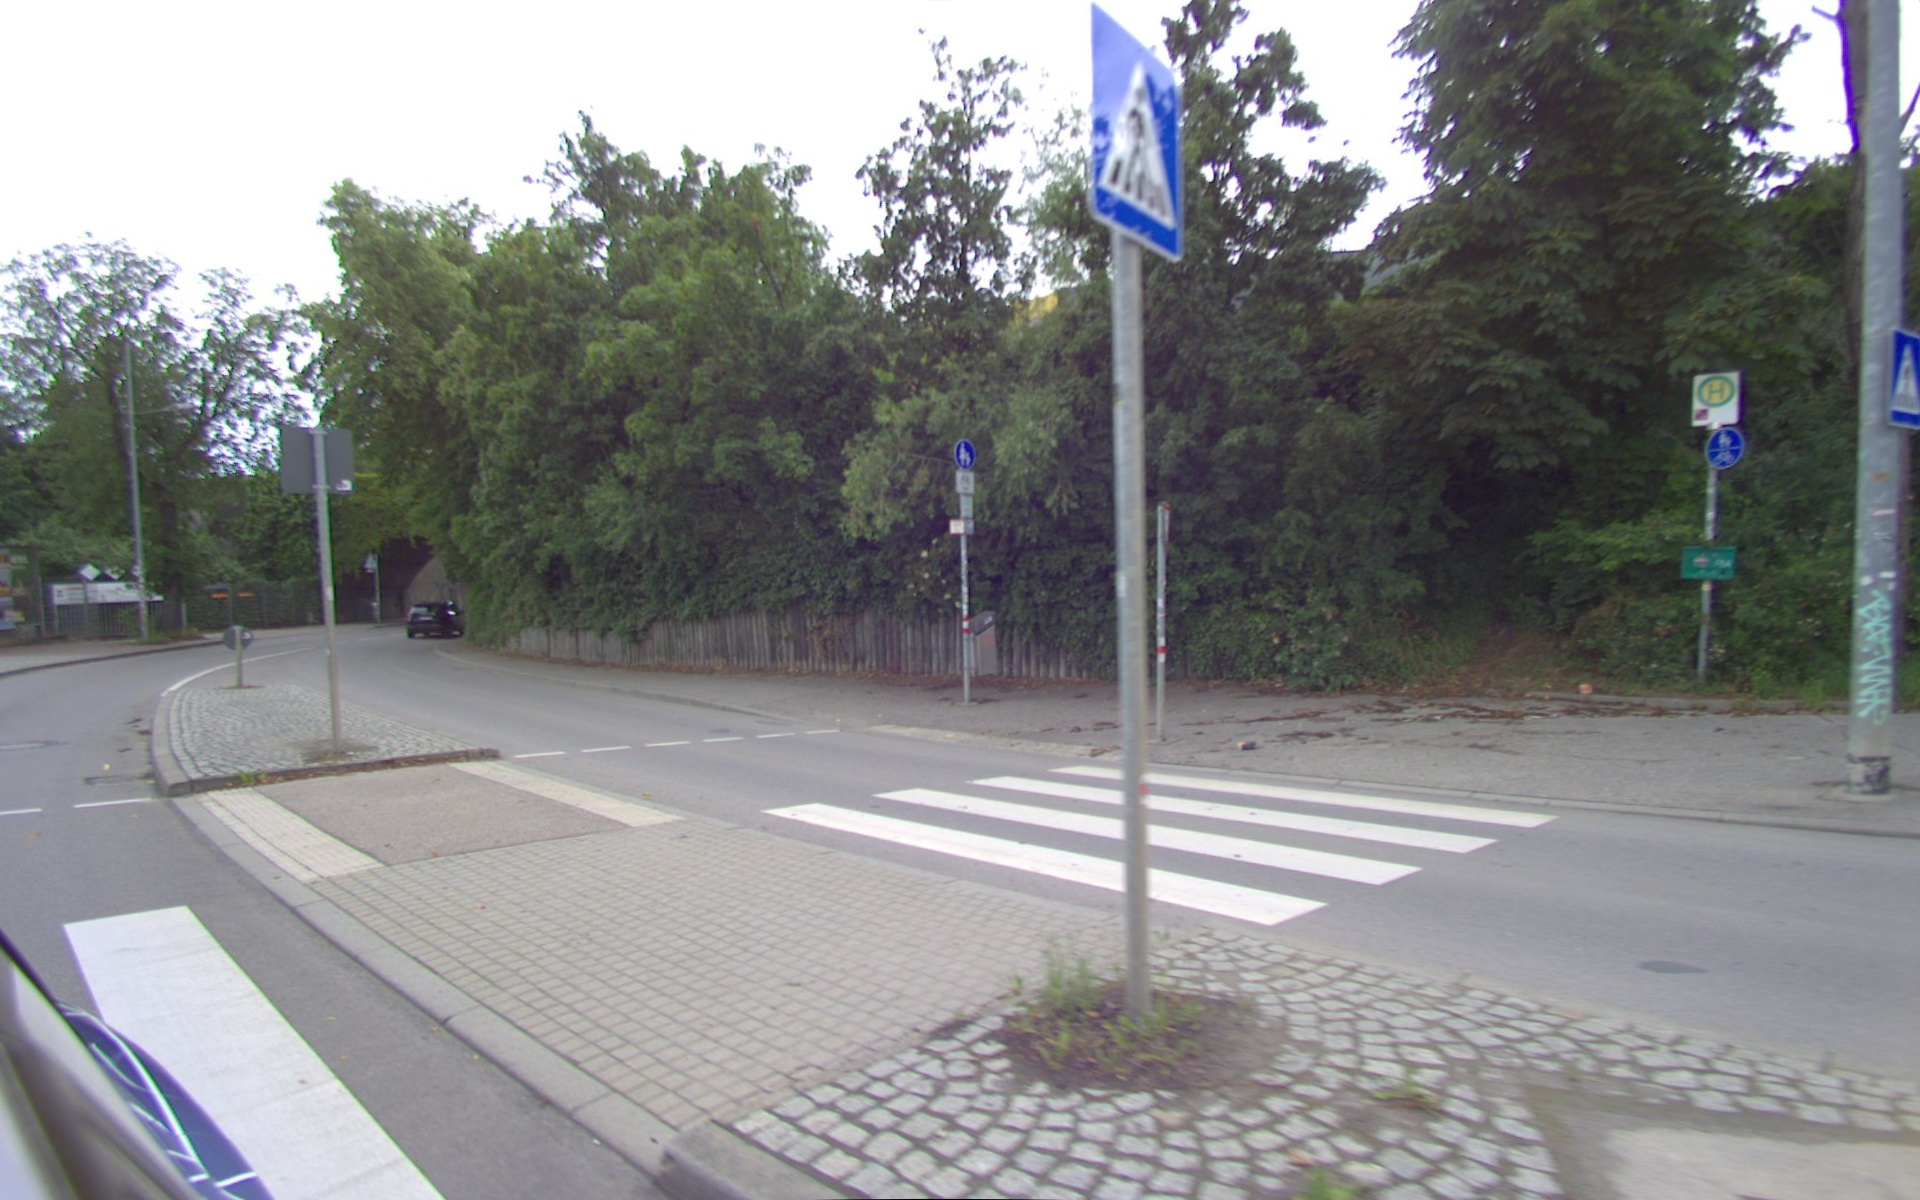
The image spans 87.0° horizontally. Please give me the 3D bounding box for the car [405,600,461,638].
[{"bbox_3d":[-23.713,0.878,45.645,1.777,1.622,4.190,1,-1,-22],"label":"car"}]
